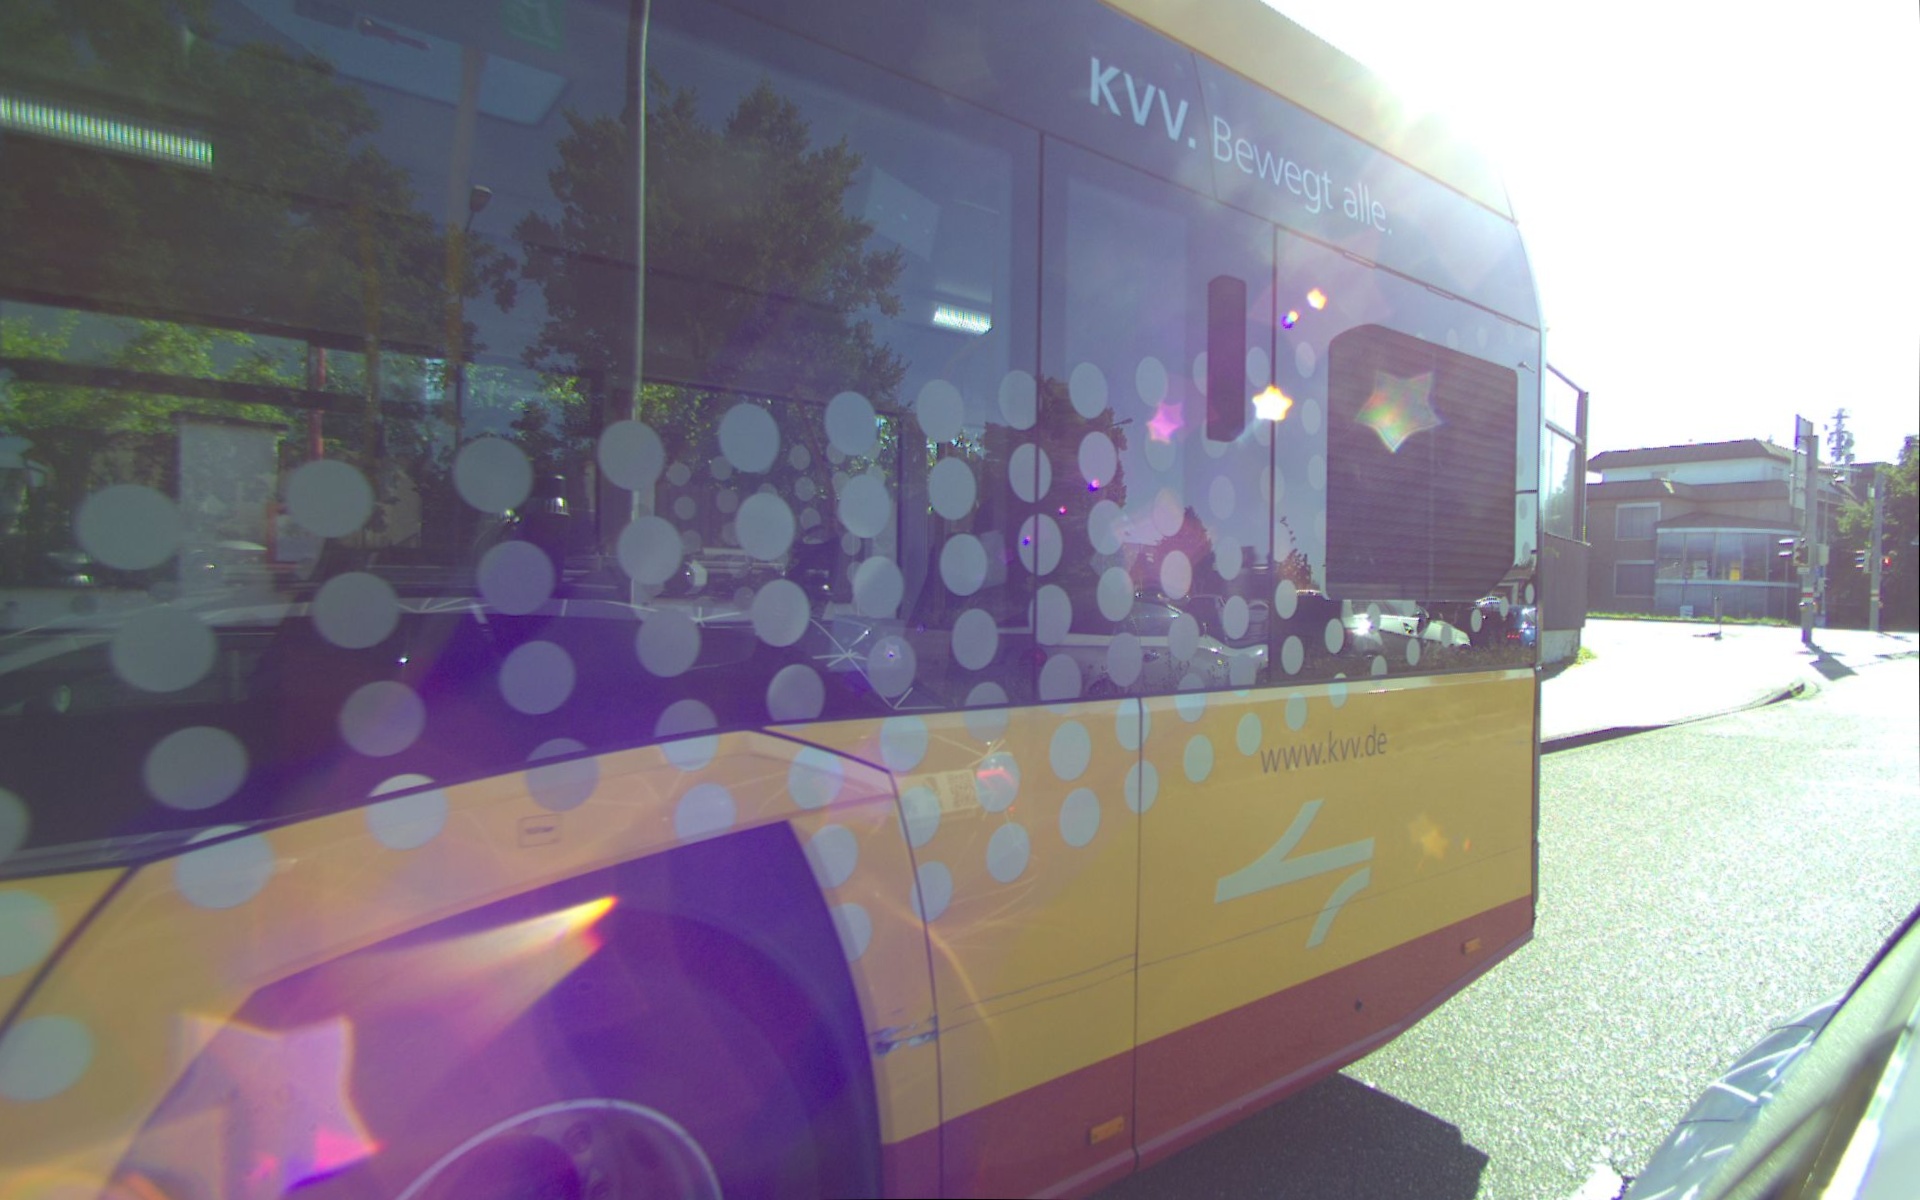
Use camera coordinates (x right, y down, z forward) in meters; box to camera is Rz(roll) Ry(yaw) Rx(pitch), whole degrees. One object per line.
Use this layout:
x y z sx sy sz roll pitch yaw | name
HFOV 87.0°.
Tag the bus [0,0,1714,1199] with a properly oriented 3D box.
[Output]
-3.096 -0.342 0.961 12.169 3.500 2.766 -1 3 -37 | bus
